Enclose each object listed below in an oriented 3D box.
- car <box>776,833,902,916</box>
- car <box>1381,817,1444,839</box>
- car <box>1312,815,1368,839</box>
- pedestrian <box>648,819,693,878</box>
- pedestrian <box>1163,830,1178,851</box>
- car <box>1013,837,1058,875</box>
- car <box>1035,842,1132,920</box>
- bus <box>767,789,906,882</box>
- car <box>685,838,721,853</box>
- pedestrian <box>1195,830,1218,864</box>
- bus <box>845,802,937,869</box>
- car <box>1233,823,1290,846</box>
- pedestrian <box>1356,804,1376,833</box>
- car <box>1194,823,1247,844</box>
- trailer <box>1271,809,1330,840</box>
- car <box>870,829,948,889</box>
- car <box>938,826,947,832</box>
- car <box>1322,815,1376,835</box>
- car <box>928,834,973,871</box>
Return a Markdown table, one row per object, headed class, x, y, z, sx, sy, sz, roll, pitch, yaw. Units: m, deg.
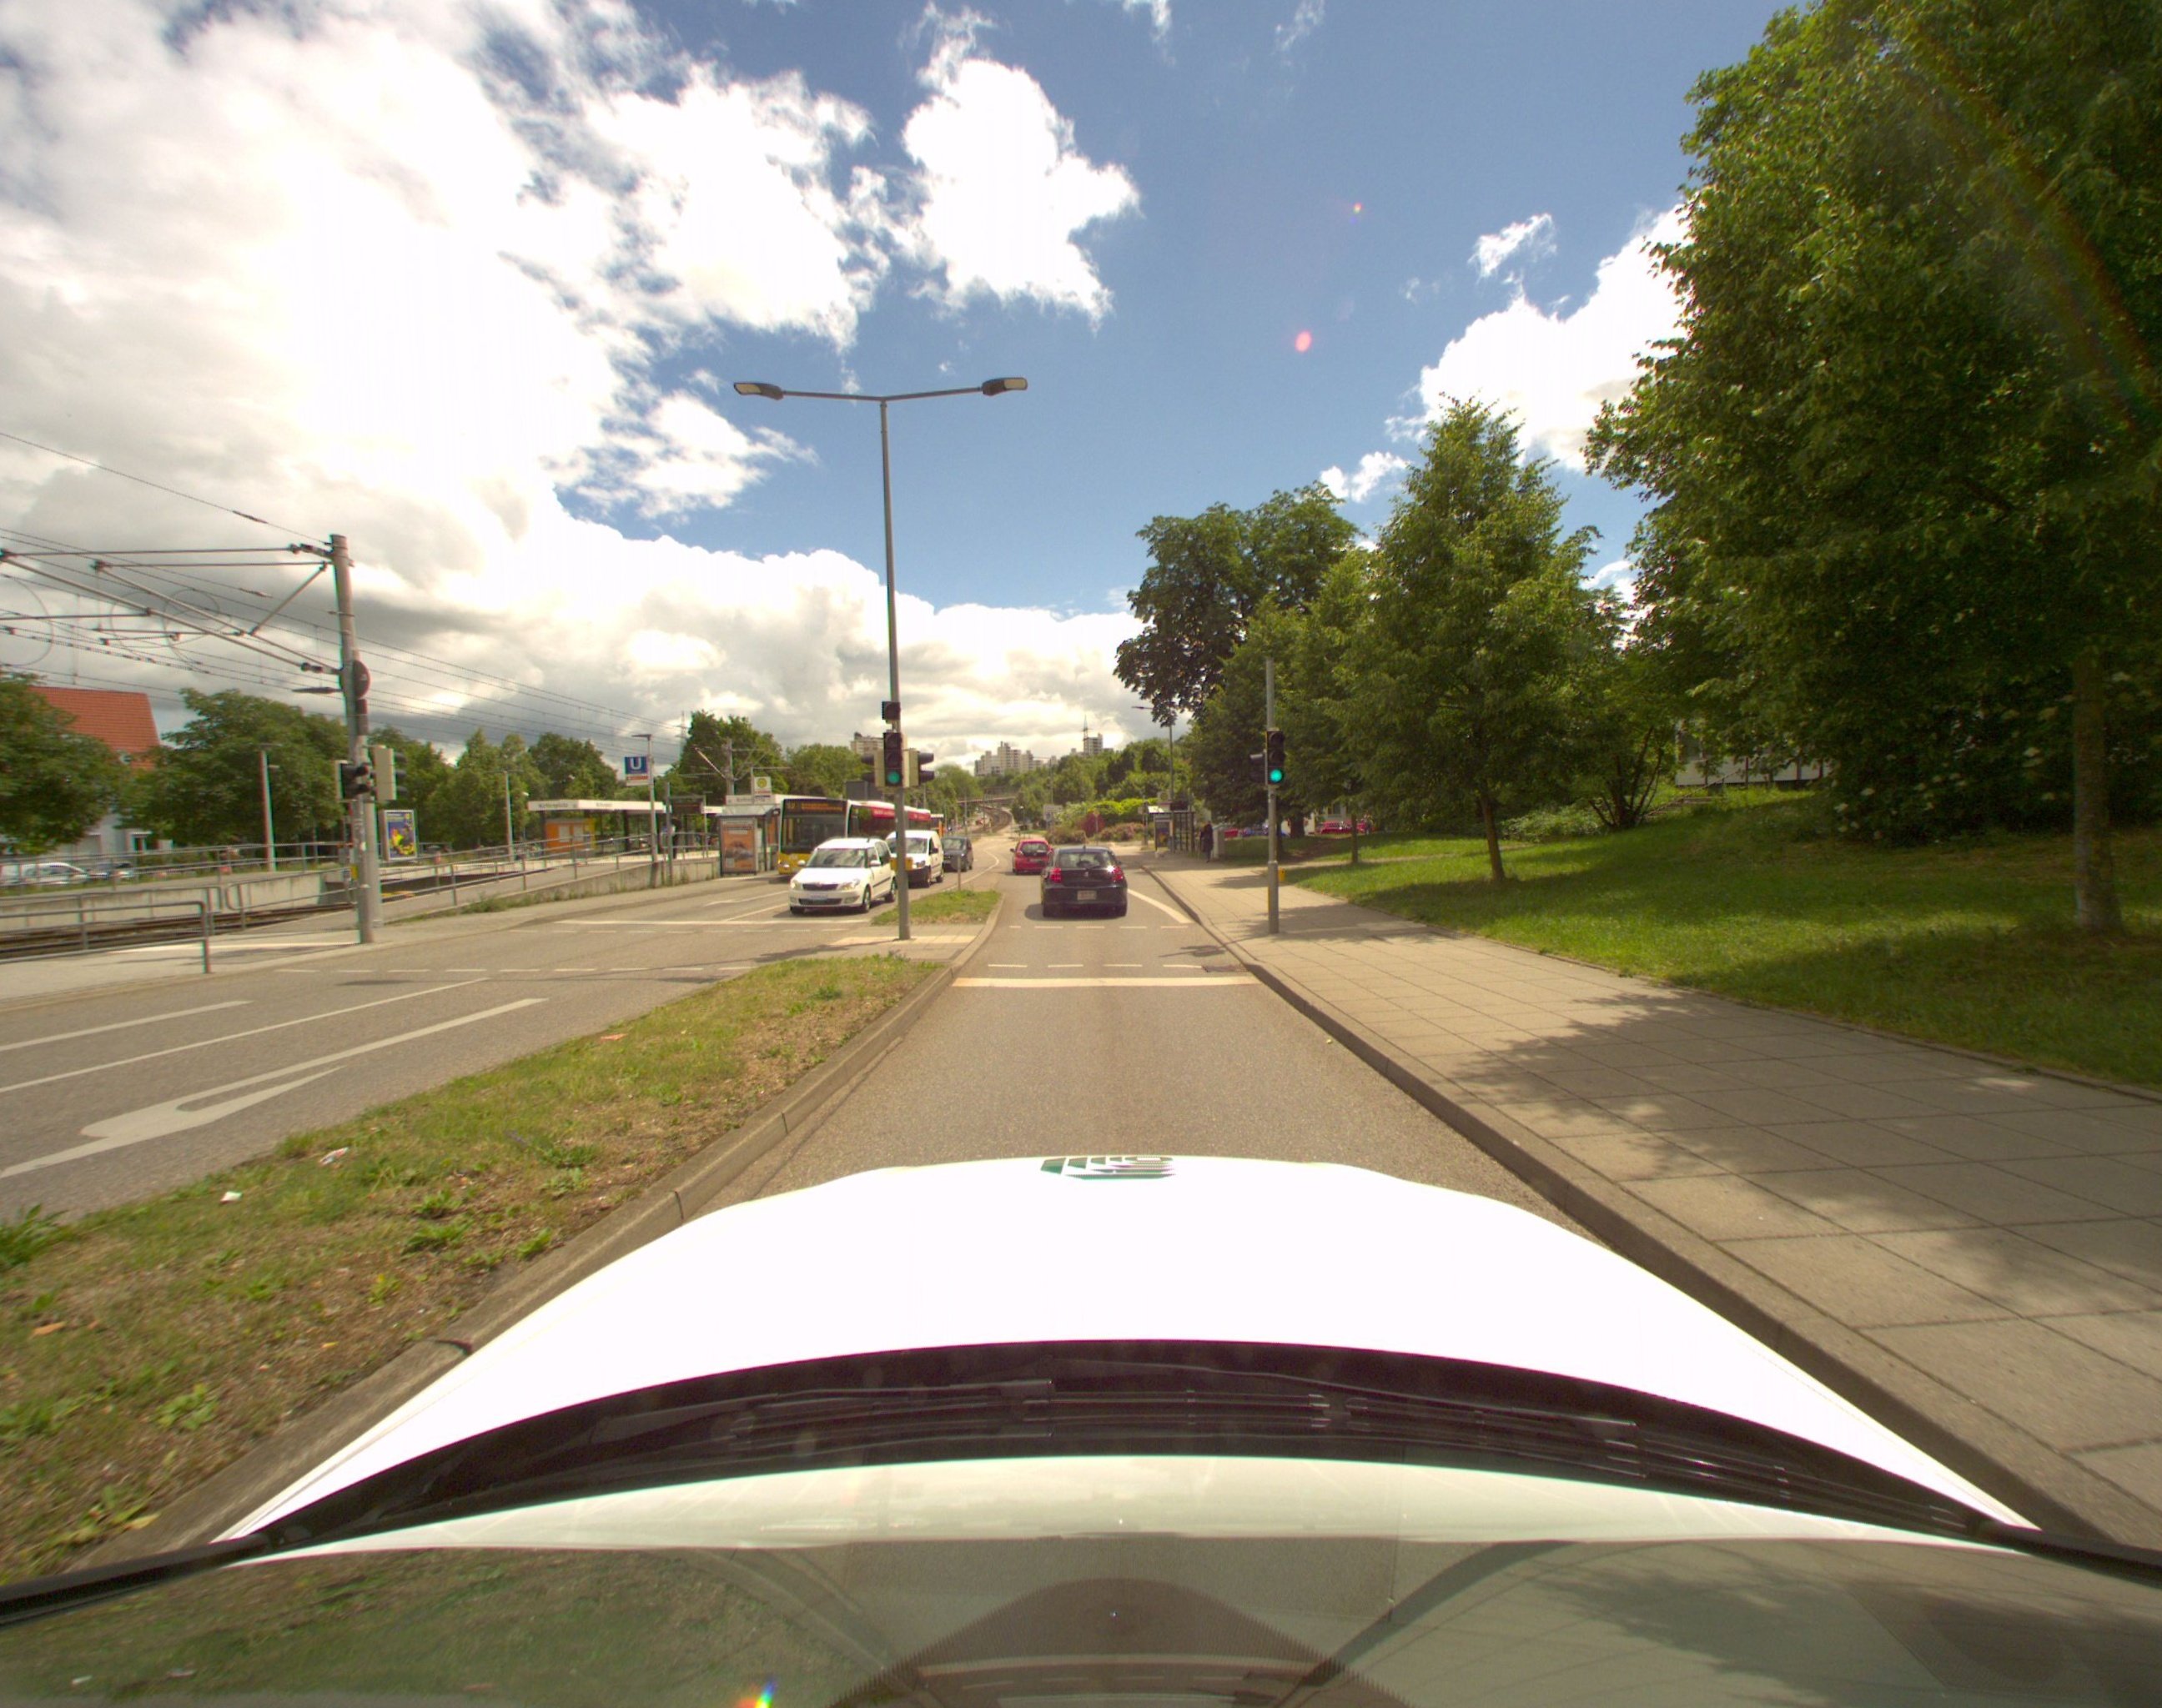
| class | x | y | z | sx | sy | sz | roll | pitch | yaw |
| --- | --- | --- | --- | --- | --- | --- | --- | --- | --- |
| car | -5.433 | 0.374 | 18.809 | 1.694 | 1.648 | 4.077 | -1 | 2 | -1 |
| car | 25.511 | -2.015 | 62.739 | 4.072 | 1.559 | 1.997 | -2 | 2 | -6 |
| car | 19.743 | -2.084 | 62.082 | 3.680 | 1.643 | 1.828 | -2 | 3 | -4 |
| pedestrian | -14.601 | -0.203 | 28.998 | 0.967 | 2.013 | 1.029 | -2 | 1 | 1 |
| pedestrian | 5.504 | -0.836 | 50.363 | 0.824 | 1.258 | 0.686 | -2 | 2 | 1 |
| car | -1.969 | 0.057 | 34.415 | 1.763 | 1.432 | 3.473 | -3 | 2 | -5 |
| car | -0.016 | 0.487 | 17.776 | 1.811 | 1.420 | 3.997 | -2 | 1 | -2 |
| bus | -9.430 | -0.765 | 32.784 | 2.718 | 3.108 | 9.701 | -1 | 2 | -1 |
| car | -48.610 | -1.067 | 104.685 | 3.627 | 1.705 | 2.052 | -2 | 3 | -3 |
| pedestrian | 5.412 | -0.325 | 35.199 | 0.817 | 1.424 | 0.829 | -2 | 1 | -1 |
| bus | -9.592 | -0.968 | 42.217 | 2.718 | 3.069 | 8.960 | -1 | 1 | -1 |
| car | 13.620 | -1.470 | 61.692 | 3.787 | 1.456 | 1.894 | -3 | 3 | -5 |
| pedestrian | 17.844 | -2.193 | 50.947 | 0.980 | 1.760 | 0.860 | -2 | 1 | 8 |
| car | 12.098 | -1.812 | 70.701 | 4.152 | 1.561 | 1.996 | -2 | 4 | -7 |
| trailer | 19.220 | -2.604 | 71.368 | 4.527 | 2.486 | 2.219 | -2 | 3 | -4 |
| car | -5.553 | 0.090 | 26.798 | 1.758 | 1.662 | 4.501 | -3 | 3 | -3 |
| car | -31.183 | -5.605 | 183.561 | 1.524 | 1.370 | 3.596 | -2 | 2 | -1 |
| car | 23.576 | -2.559 | 71.659 | 4.073 | 1.502 | 1.998 | -3 | 3 | -4 |
| car | -5.783 | -0.100 | 36.466 | 1.526 | 1.551 | 3.730 | 0 | 1 | -2 |
